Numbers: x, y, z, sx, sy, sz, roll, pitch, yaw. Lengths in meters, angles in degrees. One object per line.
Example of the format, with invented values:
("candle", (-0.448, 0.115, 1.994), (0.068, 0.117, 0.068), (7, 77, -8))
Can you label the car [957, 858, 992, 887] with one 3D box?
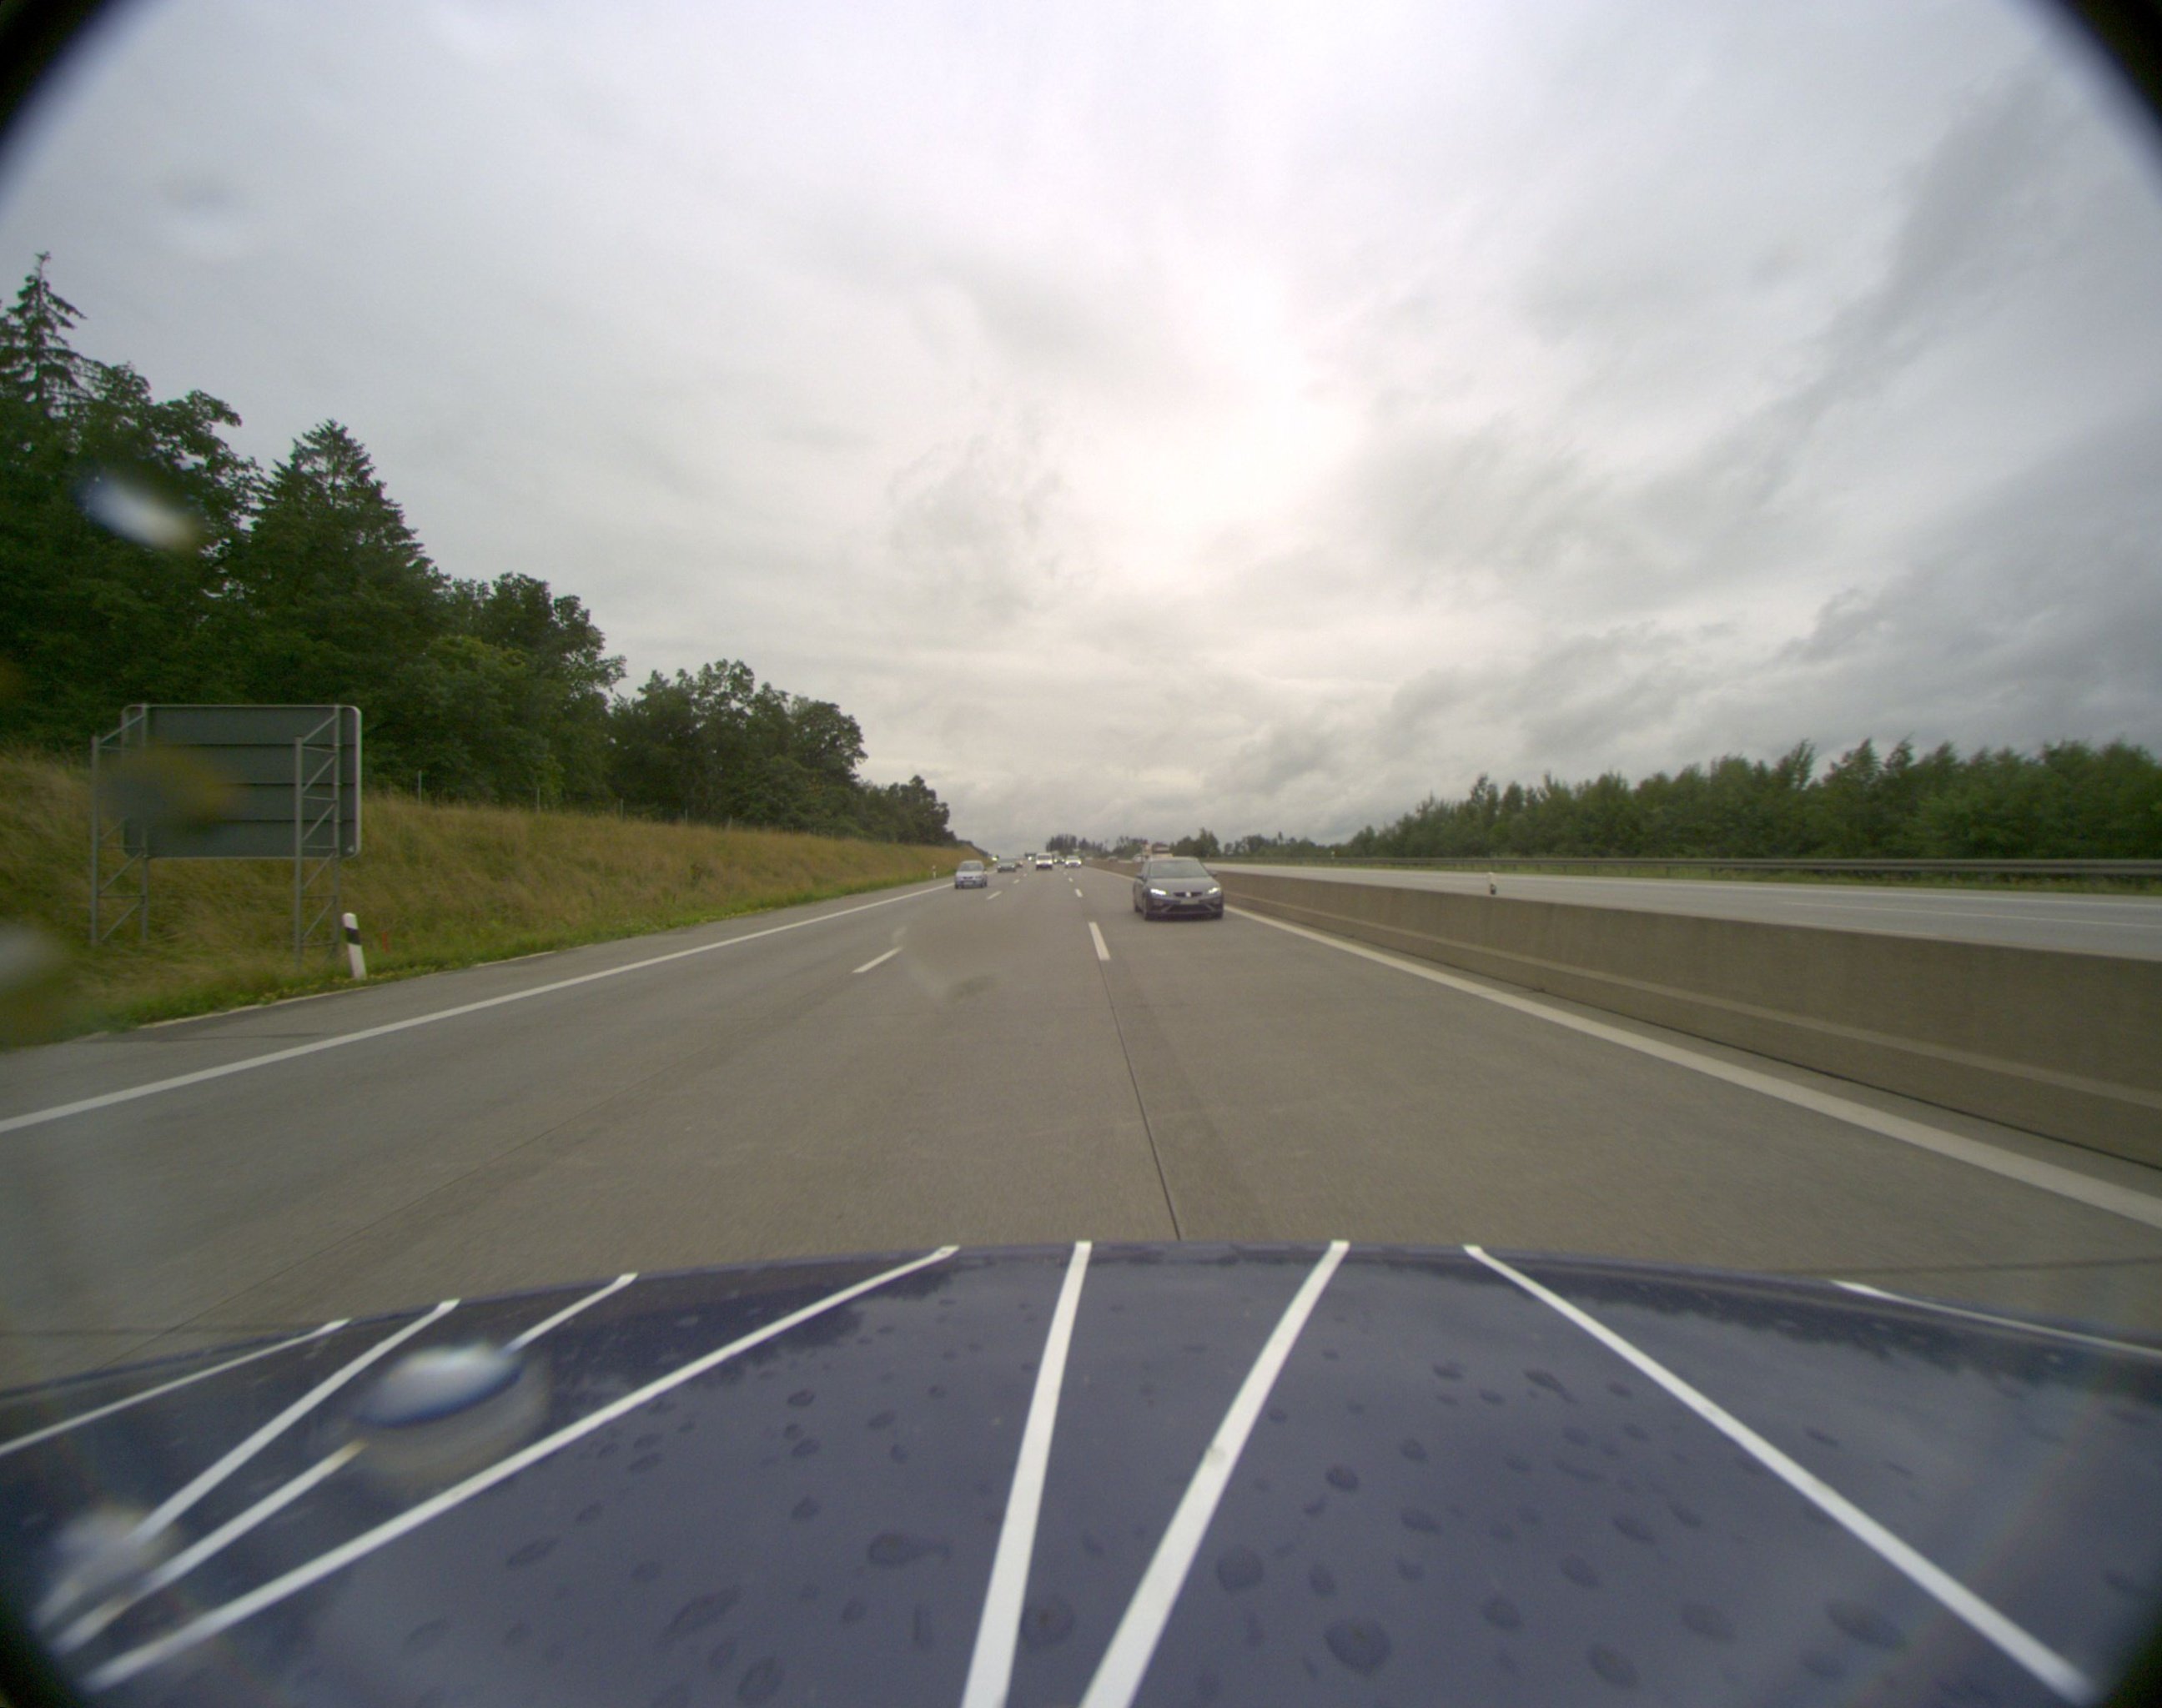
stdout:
("car", (-5.682, 0.992, 40.773), (1.490, 1.462, 3.504), (-1, -1, -3))

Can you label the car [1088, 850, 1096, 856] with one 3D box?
("car", (2.887, -0.289, 201.816), (1.741, 1.359, 4.097), (-4, -1, -2))

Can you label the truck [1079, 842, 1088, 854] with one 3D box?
("truck", (0.827, -2.051, 257.612), (2.758, 3.780, 5.527), (-2, 1, -4))

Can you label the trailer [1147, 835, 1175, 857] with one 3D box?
("trailer", (13.582, -1.379, 130.164), (2.594, 3.522, 13.717), (-1, 1, -3))

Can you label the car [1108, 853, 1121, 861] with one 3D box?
("car", (5.647, 0.481, 127.874), (1.768, 1.260, 4.490), (0, 2, -4))

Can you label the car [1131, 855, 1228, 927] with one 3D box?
("car", (2.269, 0.801, 18.642), (1.789, 1.472, 4.570), (-1, 0, 0))

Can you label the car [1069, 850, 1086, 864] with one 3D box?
("car", (-0.468, 0.422, 97.190), (1.999, 1.632, 5.042), (1, -1, -2))

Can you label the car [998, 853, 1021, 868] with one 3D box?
("car", (-7.619, 0.674, 81.415), (2.020, 1.437, 4.744), (-3, -1, -2))

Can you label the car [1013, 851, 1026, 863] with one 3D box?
("car", (-8.805, 0.500, 109.050), (1.790, 1.595, 4.570), (1, -1, -4))

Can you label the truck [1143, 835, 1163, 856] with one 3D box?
("truck", (13.156, -1.504, 138.971), (2.593, 3.631, 7.658), (-1, 0, -3))

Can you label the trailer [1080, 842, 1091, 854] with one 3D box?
("trailer", (1.374, -2.070, 250.751), (2.757, 3.777, 9.311), (-1, 0, -5))

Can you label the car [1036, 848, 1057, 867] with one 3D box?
("car", (-3.904, 0.431, 87.026), (2.043, 2.111, 6.069), (1, -1, 0))

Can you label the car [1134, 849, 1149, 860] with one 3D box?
("car", (9.549, 0.128, 120.025), (1.767, 1.577, 4.756), (-2, 0, -1))
